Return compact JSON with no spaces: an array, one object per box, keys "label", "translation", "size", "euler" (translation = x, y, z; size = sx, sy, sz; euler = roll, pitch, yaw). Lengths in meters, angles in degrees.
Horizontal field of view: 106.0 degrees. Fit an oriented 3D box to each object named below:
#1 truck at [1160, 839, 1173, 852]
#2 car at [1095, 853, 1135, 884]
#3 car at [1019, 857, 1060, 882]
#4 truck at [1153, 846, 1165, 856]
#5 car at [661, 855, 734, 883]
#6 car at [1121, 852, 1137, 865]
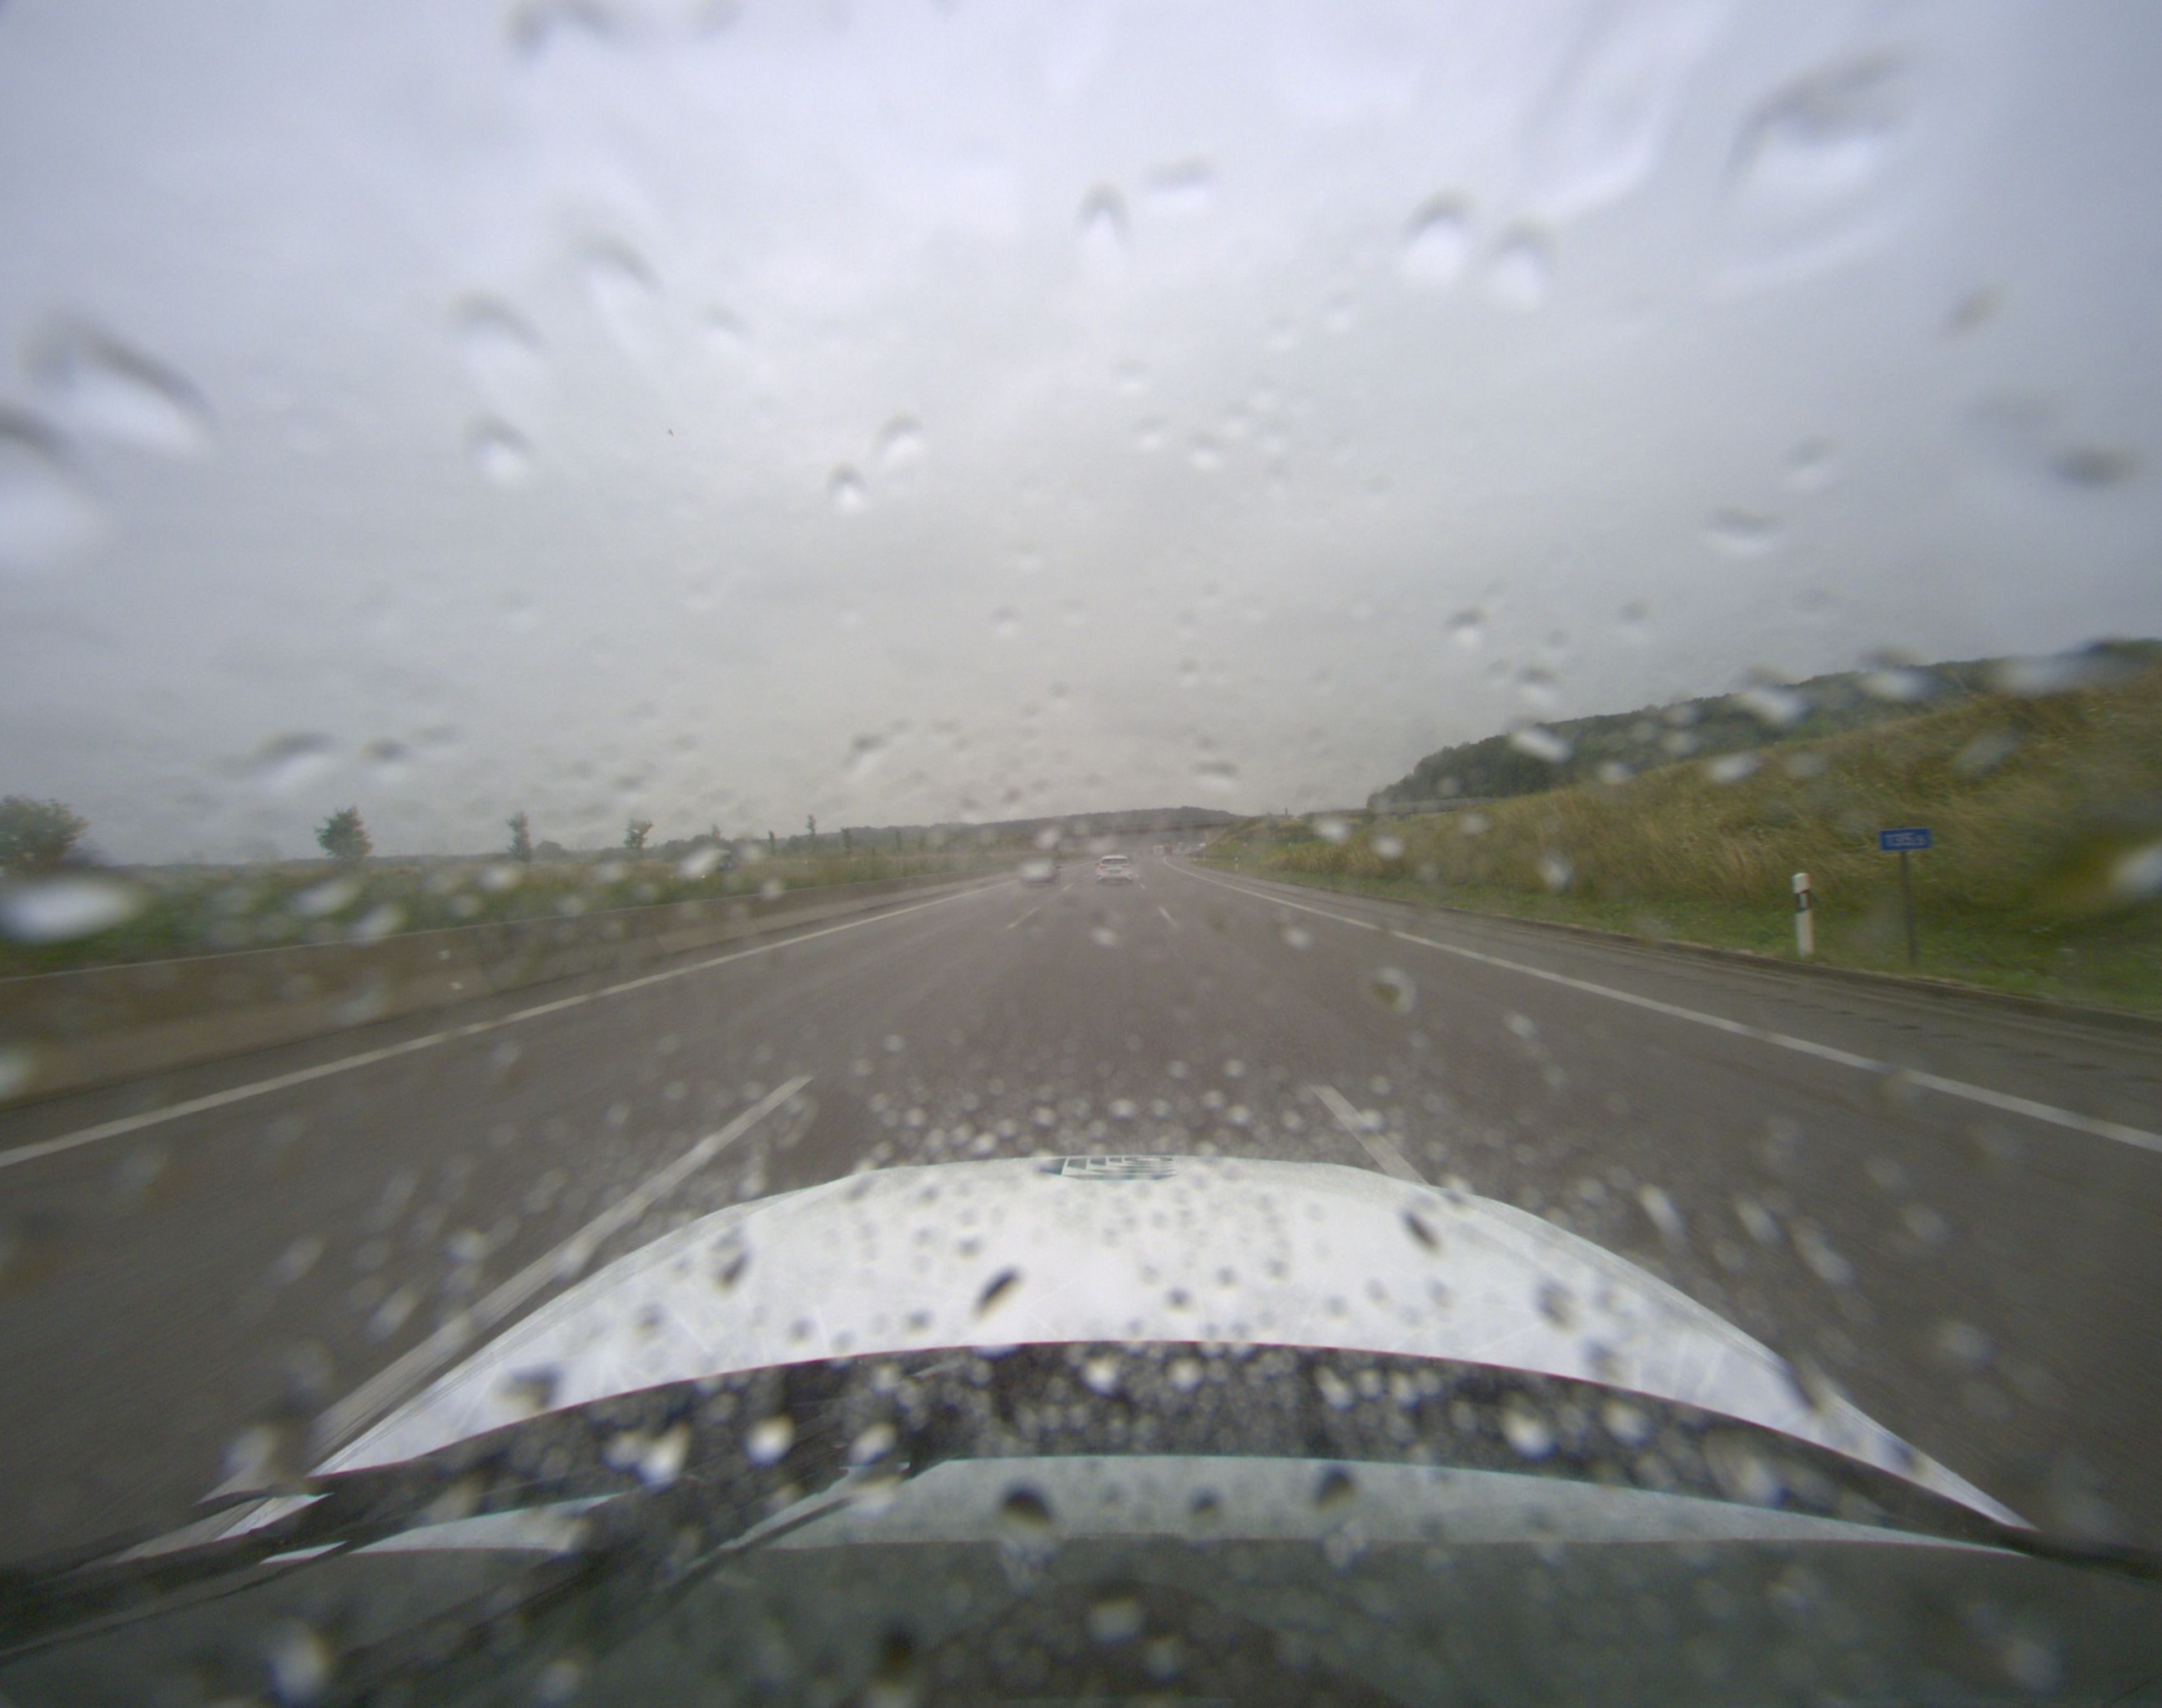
[{"label":"truck","translation":[25.775,-2.736,246.278],"size":[3.510,3.742,11.443],"euler":[-1,1,5]},{"label":"car","translation":[1.703,0.698,40.816],"size":[1.860,1.463,4.002],"euler":[-1,0,2]},{"label":"car","translation":[-1.988,0.770,40.395],"size":[1.818,1.156,4.212],"euler":[-1,-1,0]},{"label":"truck","translation":[18.451,-0.798,191.634],"size":[2.393,2.252,4.705],"euler":[-1,0,9]},{"label":"car","translation":[-18.700,0.713,39.875],"size":[1.640,1.257,3.801],"euler":[-1,0,3]},{"label":"car","translation":[6.043,0.577,102.716],"size":[1.985,1.618,4.004],"euler":[-1,0,3]}]
